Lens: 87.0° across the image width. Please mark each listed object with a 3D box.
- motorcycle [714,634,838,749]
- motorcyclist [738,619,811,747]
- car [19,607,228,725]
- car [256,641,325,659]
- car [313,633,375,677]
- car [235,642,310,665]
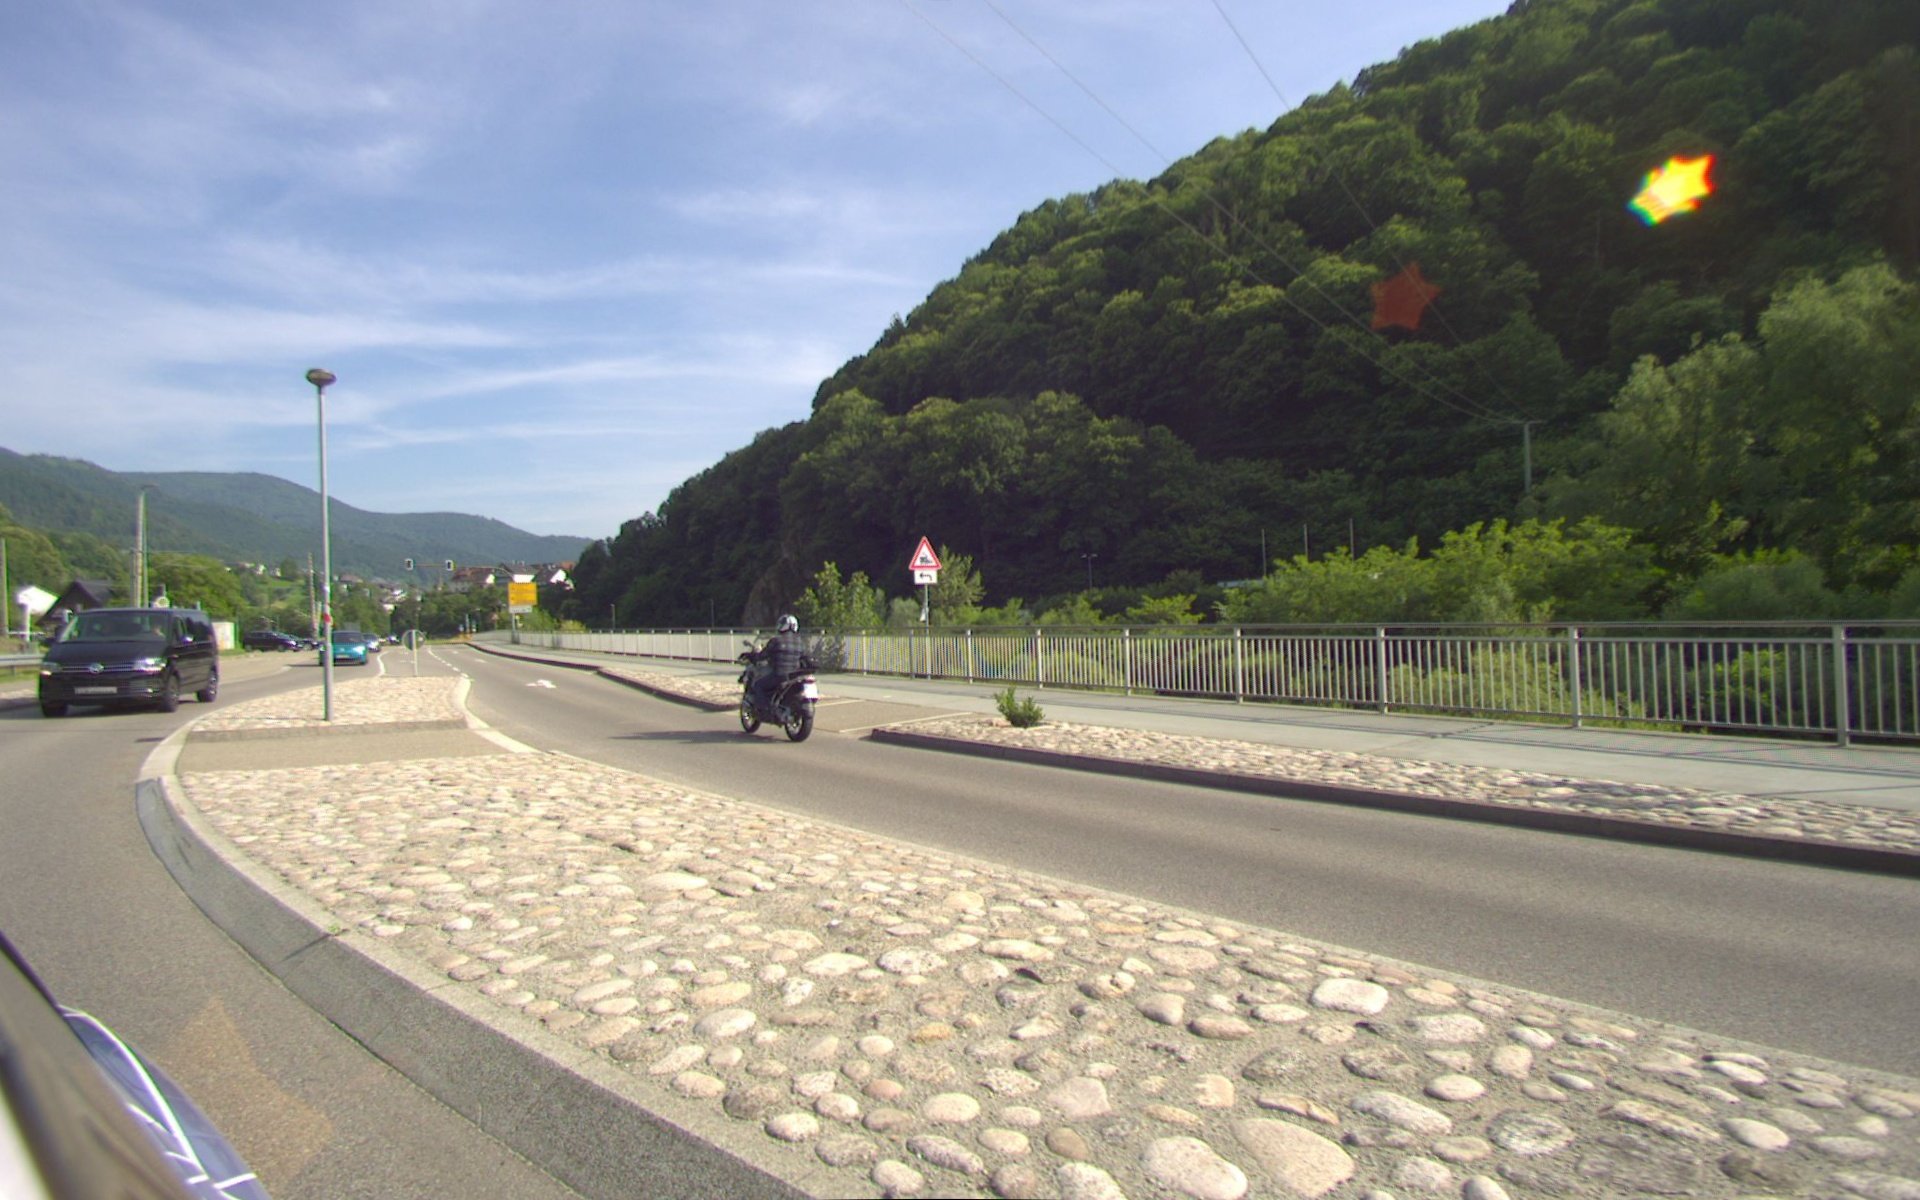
[{"bbox_3d":[-2.581,1.190,13.913,0.762,1.433,2.324,0,-2,-35],"label":"motorcycle"},{"bbox_3d":[-2.545,1.108,13.887,0.752,1.691,0.729,0,-1,-34],"label":"motorcyclist"},{"bbox_3d":[-15.702,1.182,19.318,1.834,1.962,4.653,1,-2,-24],"label":"car"},{"bbox_3d":[-56.882,4.211,86.025,4.659,1.481,1.848,1,-2,-25],"label":"car"},{"bbox_3d":[-27.777,2.415,45.753,1.852,1.751,4.530,-1,0,-25],"label":"car"},{"bbox_3d":[-54.570,4.285,80.391,4.679,1.672,1.928,-1,-6,4],"label":"car"}]
